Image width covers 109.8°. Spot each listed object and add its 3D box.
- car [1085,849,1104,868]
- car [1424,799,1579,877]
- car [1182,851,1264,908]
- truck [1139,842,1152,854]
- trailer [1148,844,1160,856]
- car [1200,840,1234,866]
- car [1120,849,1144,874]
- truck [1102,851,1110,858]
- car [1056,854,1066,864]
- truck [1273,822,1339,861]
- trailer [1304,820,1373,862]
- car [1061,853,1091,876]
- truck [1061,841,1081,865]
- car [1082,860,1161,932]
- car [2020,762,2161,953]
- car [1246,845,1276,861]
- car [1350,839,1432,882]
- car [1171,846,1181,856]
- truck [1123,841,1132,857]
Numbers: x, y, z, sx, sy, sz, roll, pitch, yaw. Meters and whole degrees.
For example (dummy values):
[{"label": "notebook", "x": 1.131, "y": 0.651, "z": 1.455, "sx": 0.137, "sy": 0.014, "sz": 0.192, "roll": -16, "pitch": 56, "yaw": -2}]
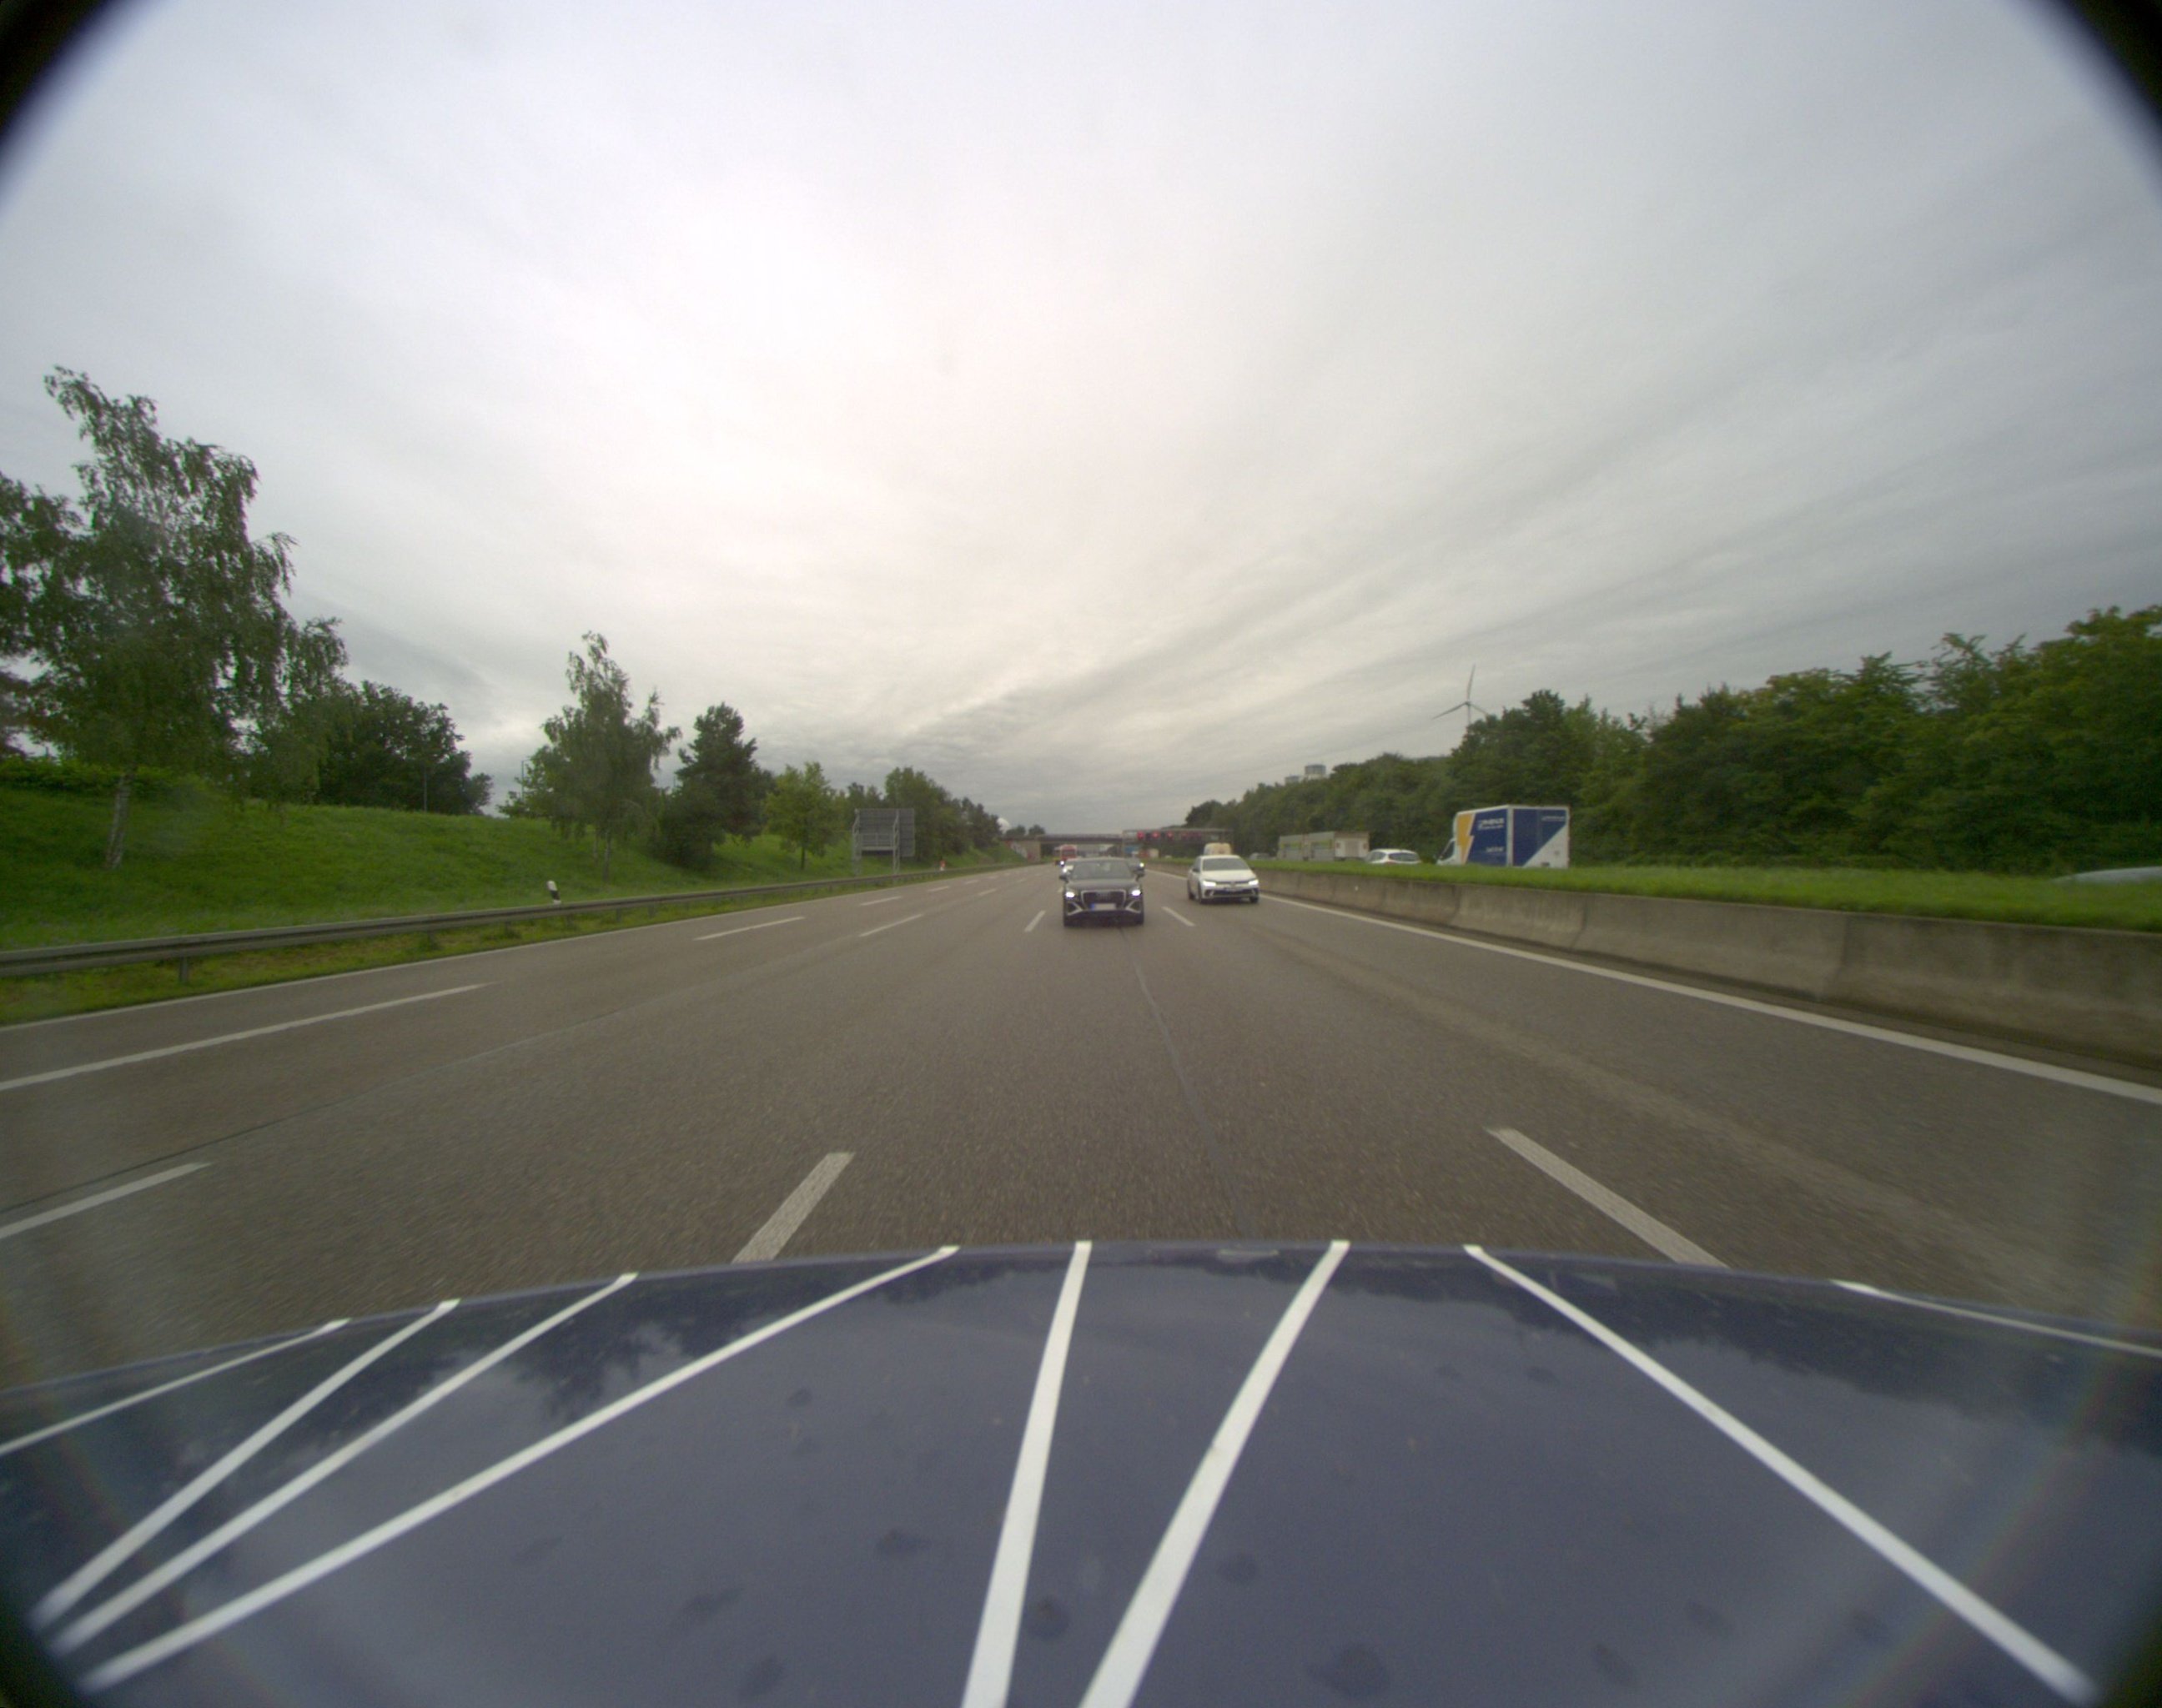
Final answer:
[{"label": "car", "x": 1.447, "y": 0.474, "z": 83.921, "sx": 1.998, "sy": 2.002, "sz": 4.000, "roll": -2, "pitch": 1, "yaw": 1}, {"label": "car", "x": 16.715, "y": -0.606, "z": 30.860, "sx": 2.327, "sy": 2.719, "sz": 7.315, "roll": -2, "pitch": 1, "yaw": 1}, {"label": "car", "x": 4.387, "y": 0.712, "z": 24.156, "sx": 1.757, "sy": 1.608, "sz": 4.663, "roll": -1, "pitch": 0, "yaw": 0}, {"label": "truck", "x": 19.251, "y": -1.778, "z": 227.530, "sx": 2.958, "sy": 3.446, "sz": 11.183, "roll": -2, "pitch": 1, "yaw": 0}, {"label": "trailer", "x": 22.852, "y": -1.270, "z": 237.986, "sx": 2.692, "sy": 3.519, "sz": 11.869, "roll": -2, "pitch": 1, "yaw": 1}, {"label": "car", "x": 13.466, "y": -0.125, "z": 75.847, "sx": 2.064, "sy": 2.371, "sz": 7.322, "roll": -2, "pitch": 1, "yaw": 0}, {"label": "car", "x": 4.277, "y": 0.587, "z": 64.548, "sx": 1.725, "sy": 2.002, "sz": 3.851, "roll": -2, "pitch": 1, "yaw": 1}, {"label": "truck", "x": 7.336, "y": 0.020, "z": 222.953, "sx": 1.998, "sy": 2.002, "sz": 4.000, "roll": -2, "pitch": 0, "yaw": 1}, {"label": "car", "x": -4.626, "y": 1.170, "z": 176.117, "sx": 1.998, "sy": 2.002, "sz": 4.000, "roll": -2, "pitch": 1, "yaw": 1}, {"label": "truck", "x": 20.789, "y": -1.145, "z": 71.059, "sx": 2.891, "sy": 3.202, "sz": 11.357, "roll": -2, "pitch": 1, "yaw": 1}, {"label": "trailer", "x": 20.657, "y": -1.047, "z": 61.431, "sx": 2.784, "sy": 3.059, "sz": 7.871, "roll": -2, "pitch": 1, "yaw": 0}, {"label": "car", "x": -0.280, "y": 0.703, "z": 53.951, "sx": 1.998, "sy": 1.555, "sz": 4.910, "roll": -2, "pitch": 0, "yaw": 1}, {"label": "truck", "x": -1.570, "y": -0.273, "z": 124.829, "sx": 2.836, "sy": 3.634, "sz": 10.670, "roll": -2, "pitch": 1, "yaw": 1}, {"label": "car", "x": 0.859, "y": 0.902, "z": 17.809, "sx": 1.616, "sy": 1.403, "sz": 3.326, "roll": -2, "pitch": 1, "yaw": 0}, {"label": "car", "x": 12.452, "y": 0.010, "z": 6.939, "sx": 2.126, "sy": 2.002, "sz": 4.519, "roll": -2, "pitch": 0, "yaw": -1}, {"label": "car", "x": 16.949, "y": -0.143, "z": 71.658, "sx": 1.998, "sy": 1.405, "sz": 4.000, "roll": -2, "pitch": 1, "yaw": 2}, {"label": "car", "x": 13.286, "y": 0.239, "z": 32.846, "sx": 1.826, "sy": 1.652, "sz": 4.148, "roll": -2, "pitch": 1, "yaw": 0}, {"label": "car", "x": 19.444, "y": -0.619, "z": 155.737, "sx": 1.624, "sy": 2.002, "sz": 3.999, "roll": -2, "pitch": 2, "yaw": 1}, {"label": "truck", "x": 13.662, "y": -1.503, "z": 223.702, "sx": 2.067, "sy": 4.353, "sz": 6.423, "roll": -2, "pitch": 1, "yaw": -1}]
